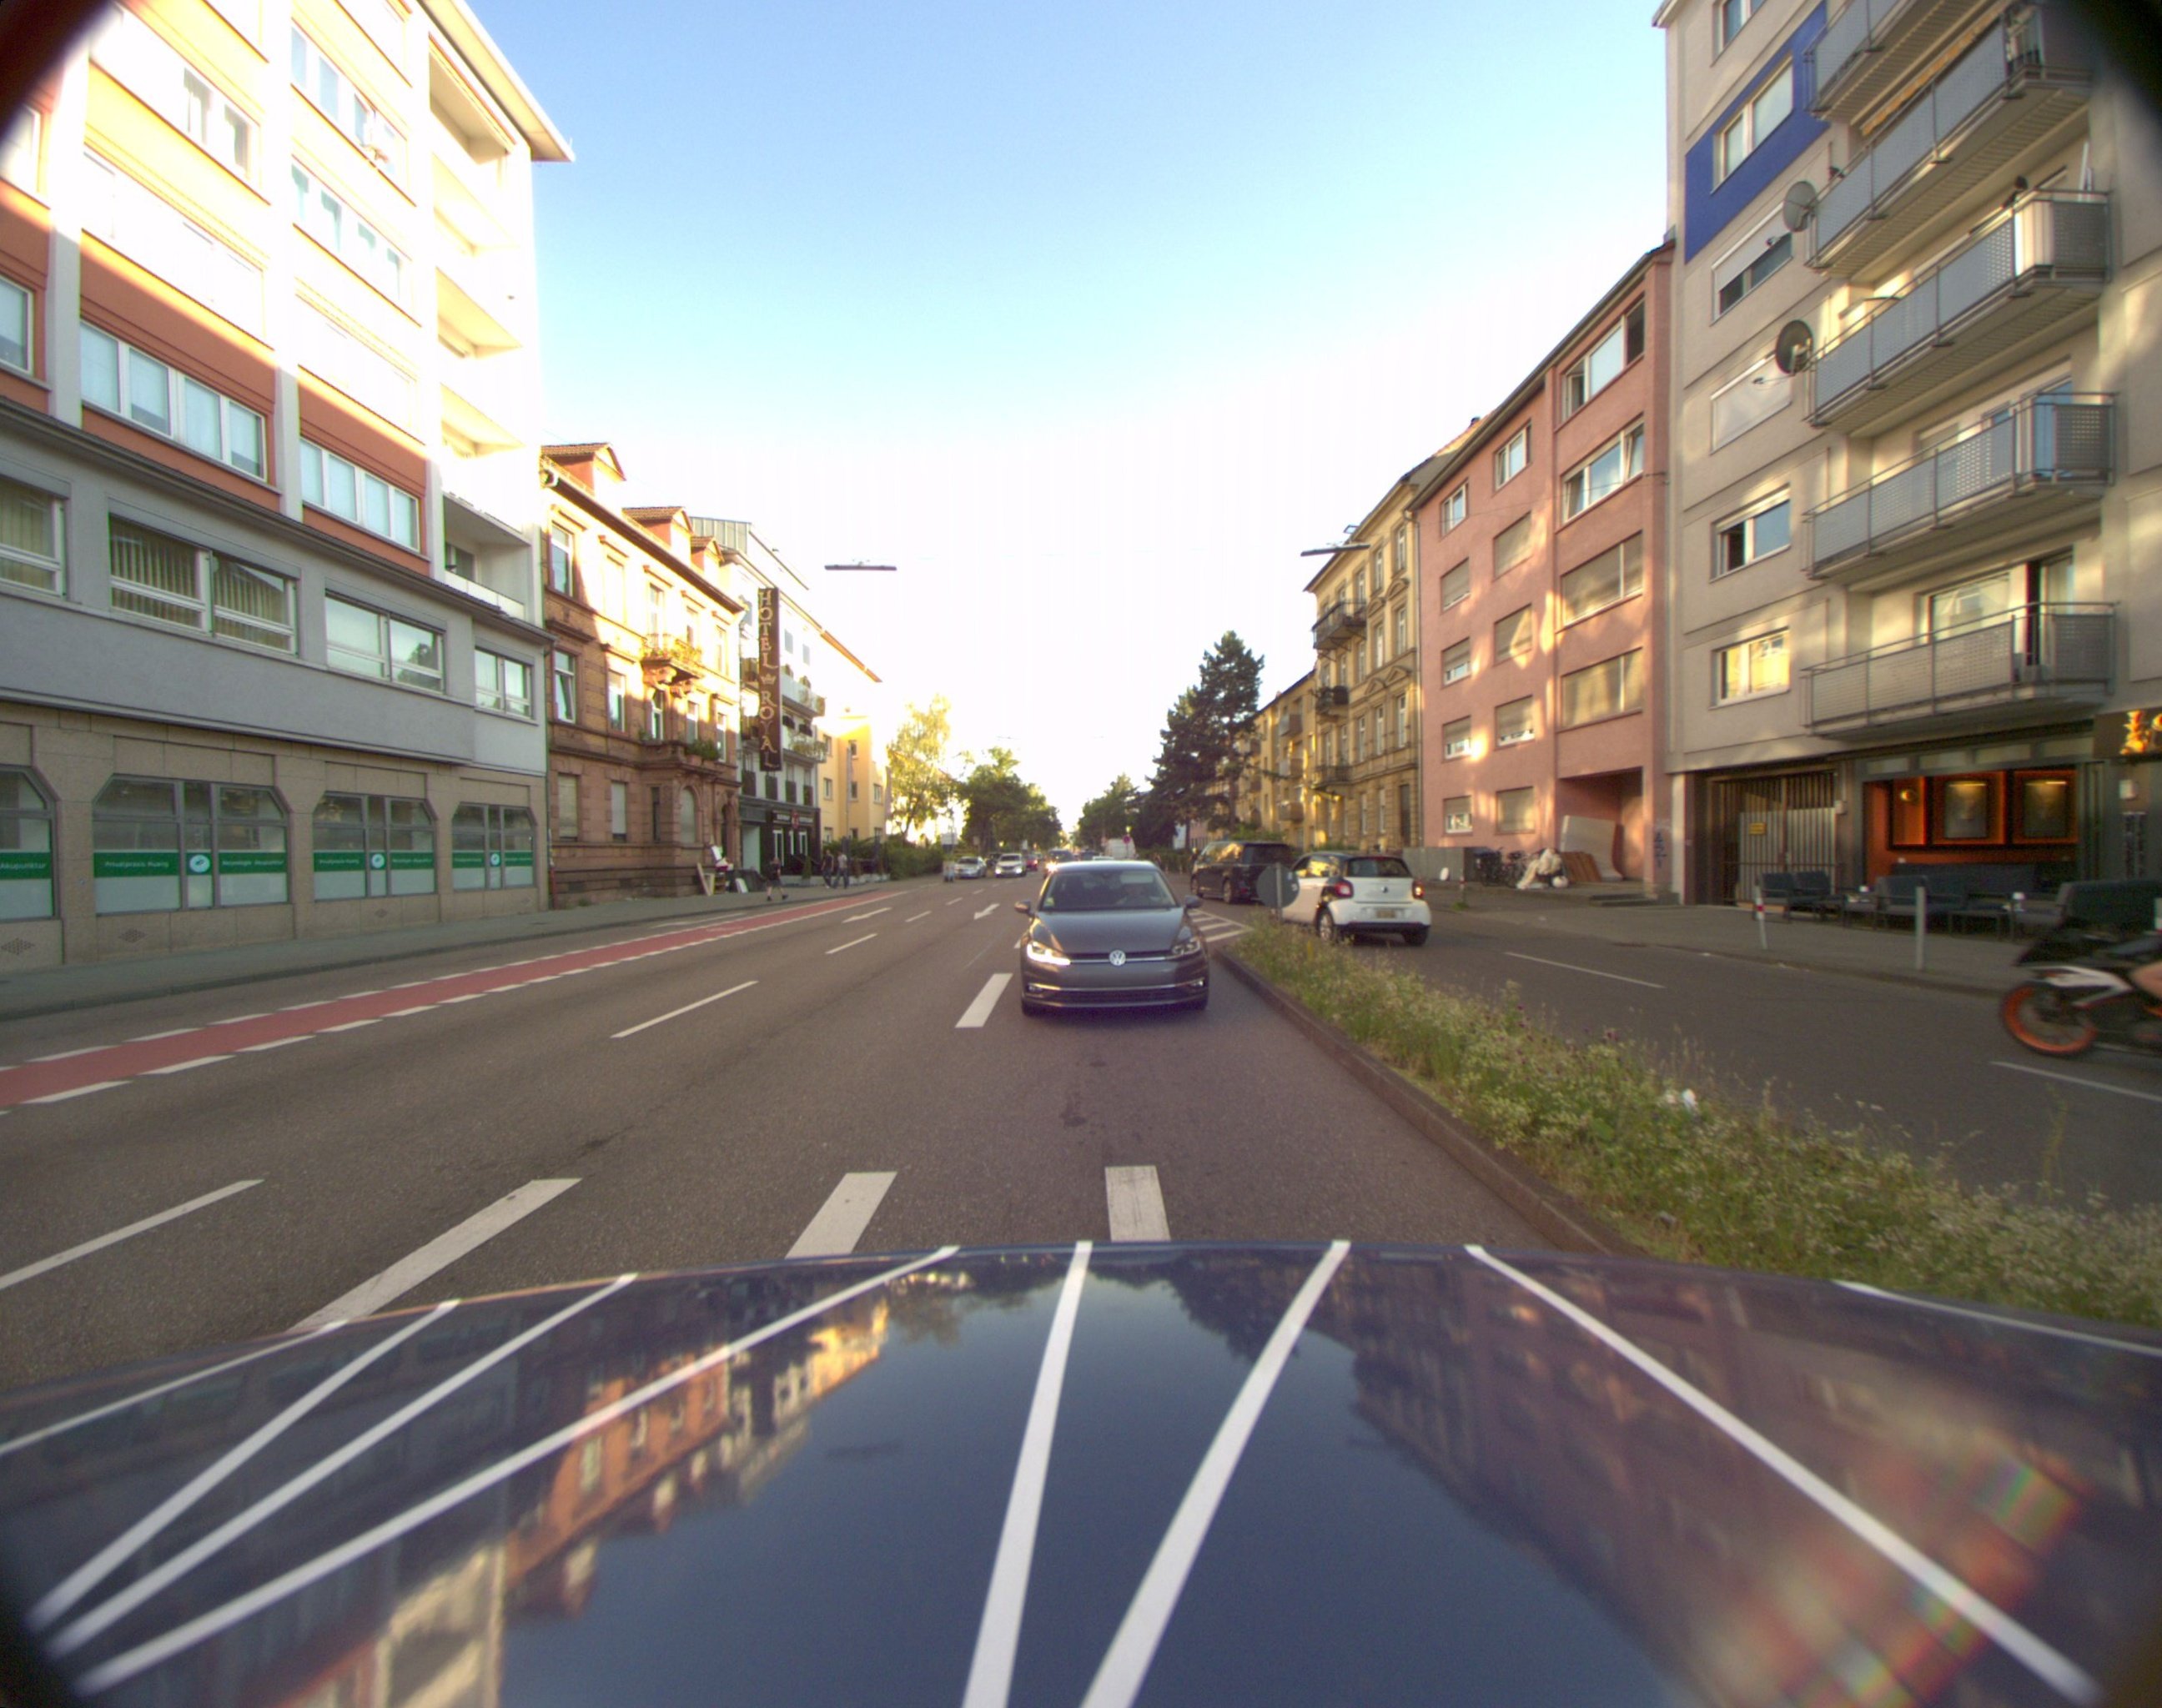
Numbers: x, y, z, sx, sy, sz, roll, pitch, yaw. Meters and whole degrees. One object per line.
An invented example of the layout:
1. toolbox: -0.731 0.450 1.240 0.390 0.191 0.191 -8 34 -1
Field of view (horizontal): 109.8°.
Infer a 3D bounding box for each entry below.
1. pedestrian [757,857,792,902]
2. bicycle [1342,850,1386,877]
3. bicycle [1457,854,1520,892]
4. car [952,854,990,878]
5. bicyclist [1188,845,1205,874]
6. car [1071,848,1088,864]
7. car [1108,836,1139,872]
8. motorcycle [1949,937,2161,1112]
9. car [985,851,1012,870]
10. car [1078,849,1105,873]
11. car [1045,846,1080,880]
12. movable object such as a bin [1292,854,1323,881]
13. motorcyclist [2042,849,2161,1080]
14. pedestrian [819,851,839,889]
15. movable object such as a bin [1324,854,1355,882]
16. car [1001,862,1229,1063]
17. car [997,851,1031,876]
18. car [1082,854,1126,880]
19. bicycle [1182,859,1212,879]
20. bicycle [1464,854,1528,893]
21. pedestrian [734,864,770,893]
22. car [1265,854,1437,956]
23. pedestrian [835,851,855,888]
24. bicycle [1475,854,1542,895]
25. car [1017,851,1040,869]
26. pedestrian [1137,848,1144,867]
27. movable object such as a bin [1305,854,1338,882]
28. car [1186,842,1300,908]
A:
1. pedestrian: -11.229 0.934 27.863 0.738 1.593 1.012 2 1 9
2. bicycle: 12.630 0.417 33.934 1.780 1.184 0.473 -1 1 -2
3. bicycle: 13.164 0.607 24.546 1.780 1.184 0.473 -1 1 -2
4. car: -7.511 0.798 52.139 1.905 1.508 4.074 -1 0 1
5. bicyclist: 6.228 0.278 40.886 0.546 1.560 0.858 -1 1 -21
6. car: -0.168 0.243 79.653 1.746 1.631 3.746 0 0 -1
7. car: 3.315 -0.023 60.336 2.136 2.740 4.465 0 1 -1
8. motorcycle: 7.084 1.123 4.833 0.750 0.957 2.048 0 0 -1
9. car: -7.359 0.513 67.933 1.947 1.615 4.193 -1 0 0
10. car: 0.738 0.509 57.302 1.895 1.729 4.292 0 0 -2
11. car: -1.013 0.452 43.532 1.895 1.843 4.466 0 0 0
12. movable object such as a bin: 10.742 0.643 36.054 1.196 1.225 0.847 -2 1 -40
13. motorcyclist: 7.083 0.683 4.816 0.750 1.433 0.958 0 1 -1
14. pedestrian: -11.808 0.732 35.590 0.668 1.716 1.010 -1 1 -5
15. movable object such as a bin: 11.711 0.624 34.417 1.196 1.225 0.847 -2 1 -40
16. car: 0.297 0.894 8.207 1.770 1.450 4.269 -2 1 1
17. car: -4.674 0.622 53.559 1.921 1.598 4.269 -2 1 1
18. car: 1.288 0.727 44.845 1.896 1.382 4.265 0 0 -8
19. bicycle: 6.233 0.783 40.919 0.546 1.031 2.283 -1 0 -21
20. bicycle: 13.085 0.616 23.967 1.780 1.184 0.473 -1 1 -2
21. pedestrian: -13.825 1.019 31.930 1.100 1.129 0.924 -1 1 -2
22. car: 4.576 0.789 13.410 1.596 1.533 3.402 0 0 -5
23. pedestrian: -11.057 0.706 35.580 0.668 1.716 1.010 -1 1 -5
24. bicycle: 13.065 0.618 23.234 1.780 1.184 0.473 -1 1 -2
25. car: -4.592 0.503 66.957 1.674 1.454 3.999 -2 1 1
26. pedestrian: 5.275 0.314 67.256 0.577 1.591 0.481 -1 1 0
27. movable object such as a bin: 11.136 0.636 35.161 1.295 1.225 0.926 -1 1 -40
28. car: 4.909 0.570 23.769 1.897 1.843 4.696 0 0 -9
